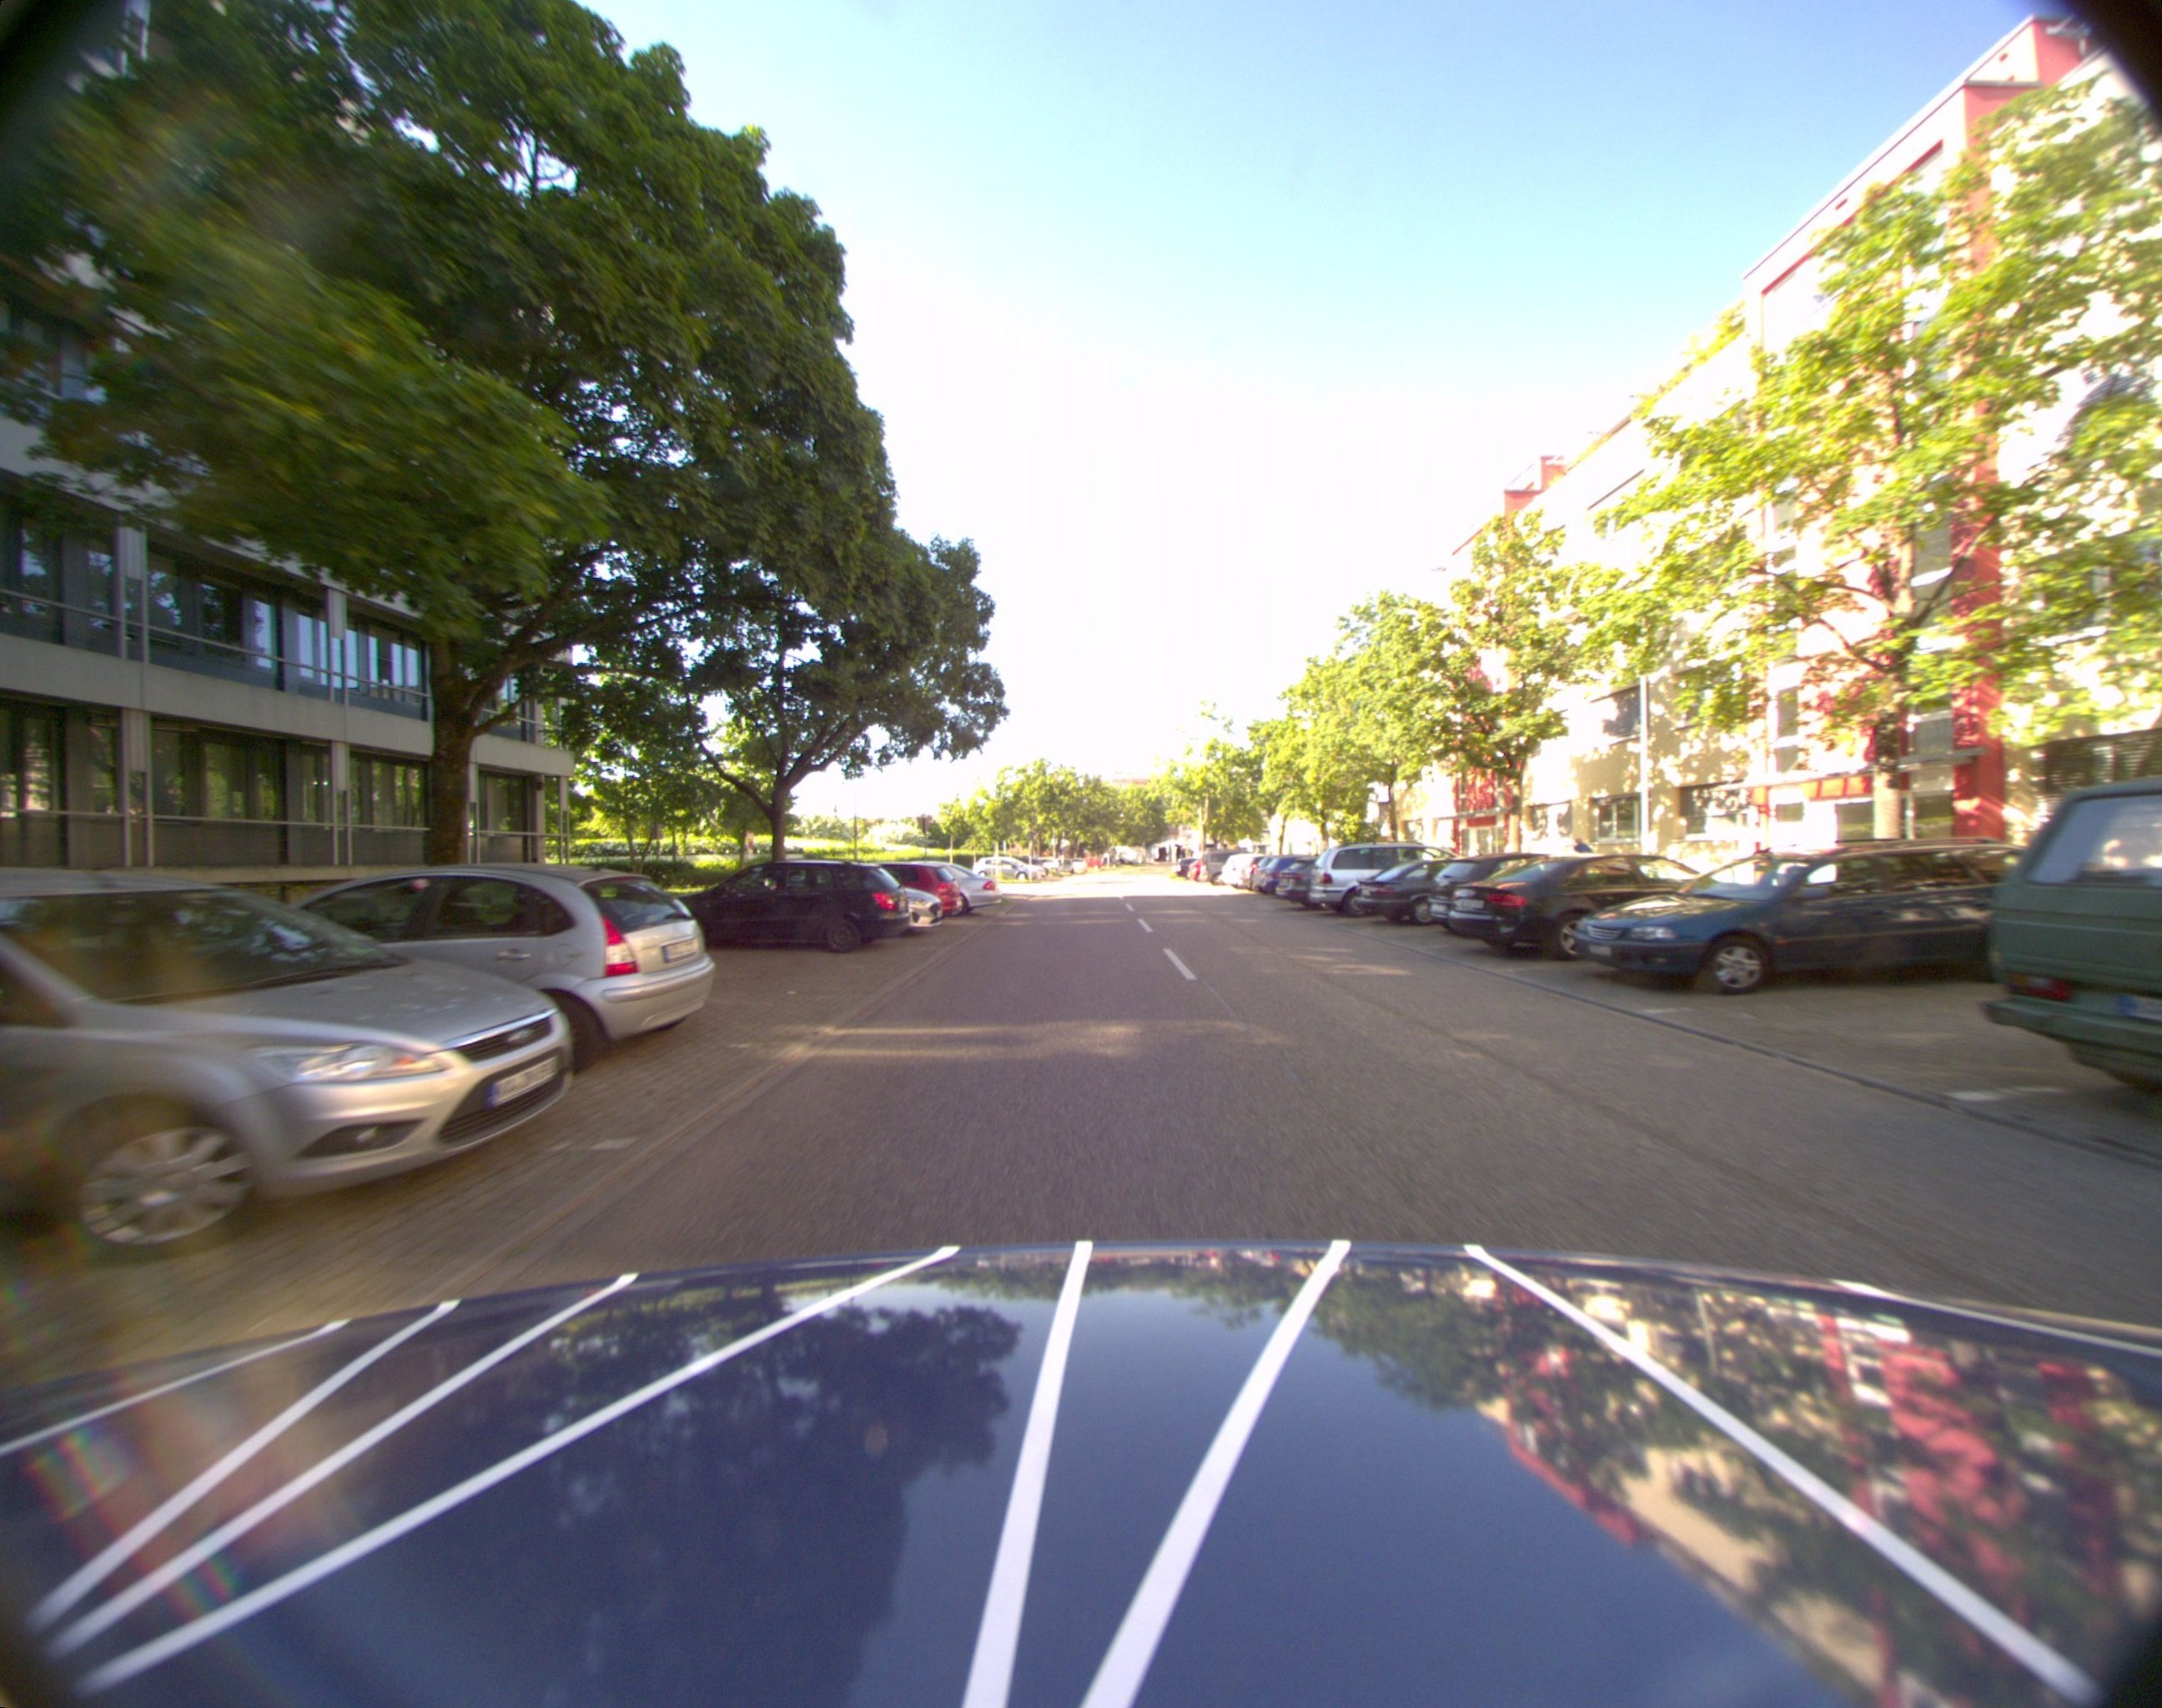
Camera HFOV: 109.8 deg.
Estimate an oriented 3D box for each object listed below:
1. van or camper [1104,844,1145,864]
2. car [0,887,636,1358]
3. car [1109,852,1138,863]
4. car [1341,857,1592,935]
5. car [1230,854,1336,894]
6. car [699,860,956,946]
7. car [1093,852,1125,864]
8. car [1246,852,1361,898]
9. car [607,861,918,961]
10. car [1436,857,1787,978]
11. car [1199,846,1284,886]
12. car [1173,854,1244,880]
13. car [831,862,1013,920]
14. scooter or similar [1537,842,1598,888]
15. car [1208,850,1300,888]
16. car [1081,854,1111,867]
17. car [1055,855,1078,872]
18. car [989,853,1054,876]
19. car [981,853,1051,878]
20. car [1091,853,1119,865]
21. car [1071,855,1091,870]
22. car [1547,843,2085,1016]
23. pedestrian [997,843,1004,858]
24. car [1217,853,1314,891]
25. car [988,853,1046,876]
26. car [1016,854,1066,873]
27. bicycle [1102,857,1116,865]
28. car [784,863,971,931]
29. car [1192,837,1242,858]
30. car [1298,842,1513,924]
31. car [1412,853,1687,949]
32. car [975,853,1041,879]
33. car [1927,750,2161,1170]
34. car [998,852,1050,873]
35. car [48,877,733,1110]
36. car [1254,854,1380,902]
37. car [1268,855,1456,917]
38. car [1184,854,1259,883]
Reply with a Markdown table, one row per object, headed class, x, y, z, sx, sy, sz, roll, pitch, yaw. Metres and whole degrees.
| class | x | y | z | sx | sy | sz | roll | pitch | yaw |
| --- | --- | --- | --- | --- | --- | --- | --- | --- | --- |
| van or camper | 6.828 | -0.053 | 118.360 | 5.990 | 2.967 | 2.673 | 2 | 1 | 12 |
| car | -4.827 | 0.960 | 3.542 | 4.297 | 1.484 | 2.003 | 1 | 0 | -2 |
| car | 6.476 | 0.543 | 115.630 | 4.155 | 1.537 | 1.860 | 2 | 1 | 11 |
| car | 7.944 | 0.828 | 15.924 | 4.332 | 1.350 | 1.757 | -3 | 0 | 0 |
| car | 8.186 | 0.785 | 31.027 | 3.736 | 1.438 | 1.859 | -3 | 0 | -3 |
| car | -5.012 | 0.928 | 15.406 | 4.524 | 1.533 | 1.922 | 1 | 0 | 5 |
| car | 3.948 | 0.618 | 108.252 | 4.199 | 1.537 | 1.861 | 2 | 1 | 14 |
| car | 8.269 | 0.749 | 28.457 | 3.735 | 1.500 | 1.859 | -3 | 0 | 0 |
| car | -5.251 | 0.924 | 13.047 | 4.528 | 1.533 | 1.921 | 1 | 0 | -3 |
| car | 7.342 | 0.832 | 10.813 | 3.735 | 1.419 | 1.725 | -3 | 0 | 1 |
| car | 8.094 | 0.611 | 38.538 | 3.901 | 1.800 | 1.786 | -3 | 0 | 1 |
| car | 8.001 | 0.825 | 48.000 | 4.272 | 1.415 | 1.740 | -3 | 0 | 4 |
| car | -4.239 | 0.970 | 20.773 | 4.589 | 1.467 | 1.747 | 0 | 0 | 1 |
| scooter or similar | 15.591 | 0.343 | 24.425 | 0.656 | 1.438 | 2.109 | 0 | 0 | 1 |
| car | 8.144 | 0.698 | 36.071 | 3.902 | 1.565 | 1.859 | -3 | 0 | 0 |
| car | 1.887 | 0.796 | 96.046 | 3.438 | 1.535 | 1.629 | 2 | 1 | 14 |
| car | -1.363 | 0.905 | 73.781 | 1.813 | 1.485 | 4.625 | 2 | 0 | 4 |
| car | -4.350 | 0.749 | 56.347 | 4.560 | 1.506 | 2.158 | 2 | 1 | 1 |
| car | -4.349 | 0.776 | 51.229 | 4.563 | 1.506 | 1.981 | 1 | 1 | -5 |
| car | 3.278 | 0.644 | 105.371 | 3.466 | 1.471 | 1.861 | 2 | 1 | 16 |
| car | 0.027 | 0.880 | 82.153 | 1.646 | 1.485 | 3.768 | 2 | 0 | 8 |
| car | 7.735 | 0.747 | 8.320 | 4.142 | 1.519 | 1.725 | -3 | 0 | 1 |
| pedestrian | -8.407 | -0.399 | 79.448 | 0.608 | 1.533 | 0.937 | 0 | 1 | 4 |
| car | 8.046 | 0.761 | 33.390 | 3.736 | 1.438 | 1.875 | -3 | 0 | -3 |
| car | -4.516 | 0.738 | 53.797 | 3.885 | 1.506 | 1.751 | 2 | 1 | 1 |
| car | -3.482 | 0.804 | 66.759 | 4.096 | 1.421 | 1.643 | 3 | 1 | 8 |
| bicycle | 3.602 | 0.891 | 98.677 | 1.752 | 0.985 | 0.531 | 1 | 1 | 25 |
| car | -4.743 | 0.975 | 18.087 | 3.846 | 1.438 | 1.922 | 1 | 0 | 5 |
| car | 14.411 | -0.682 | 80.538 | 4.776 | 1.973 | 1.997 | -2 | 0 | -22 |
| car | 7.687 | 0.664 | 18.389 | 4.330 | 1.707 | 1.963 | -3 | 0 | 6 |
| car | 8.093 | 0.782 | 13.377 | 3.735 | 1.419 | 1.725 | -3 | 0 | 0 |
| car | -4.617 | 0.780 | 48.623 | 3.957 | 1.506 | 1.702 | 2 | 1 | 2 |
| car | 7.570 | 0.431 | 3.649 | 4.498 | 2.077 | 2.083 | -3 | 0 | 3 |
| car | -4.394 | 0.658 | 59.075 | 3.814 | 1.440 | 1.745 | 3 | 1 | 3 |
| car | -4.974 | 0.967 | 5.931 | 3.754 | 1.484 | 1.616 | 1 | 0 | -4 |
| car | 8.052 | 0.794 | 26.202 | 3.735 | 1.419 | 1.841 | -3 | 0 | 0 |
| car | 7.520 | 0.827 | 20.628 | 4.414 | 1.419 | 1.772 | -3 | 0 | -1 |
| car | 7.986 | 0.816 | 43.345 | 3.901 | 1.415 | 1.739 | -3 | 0 | 1 |
